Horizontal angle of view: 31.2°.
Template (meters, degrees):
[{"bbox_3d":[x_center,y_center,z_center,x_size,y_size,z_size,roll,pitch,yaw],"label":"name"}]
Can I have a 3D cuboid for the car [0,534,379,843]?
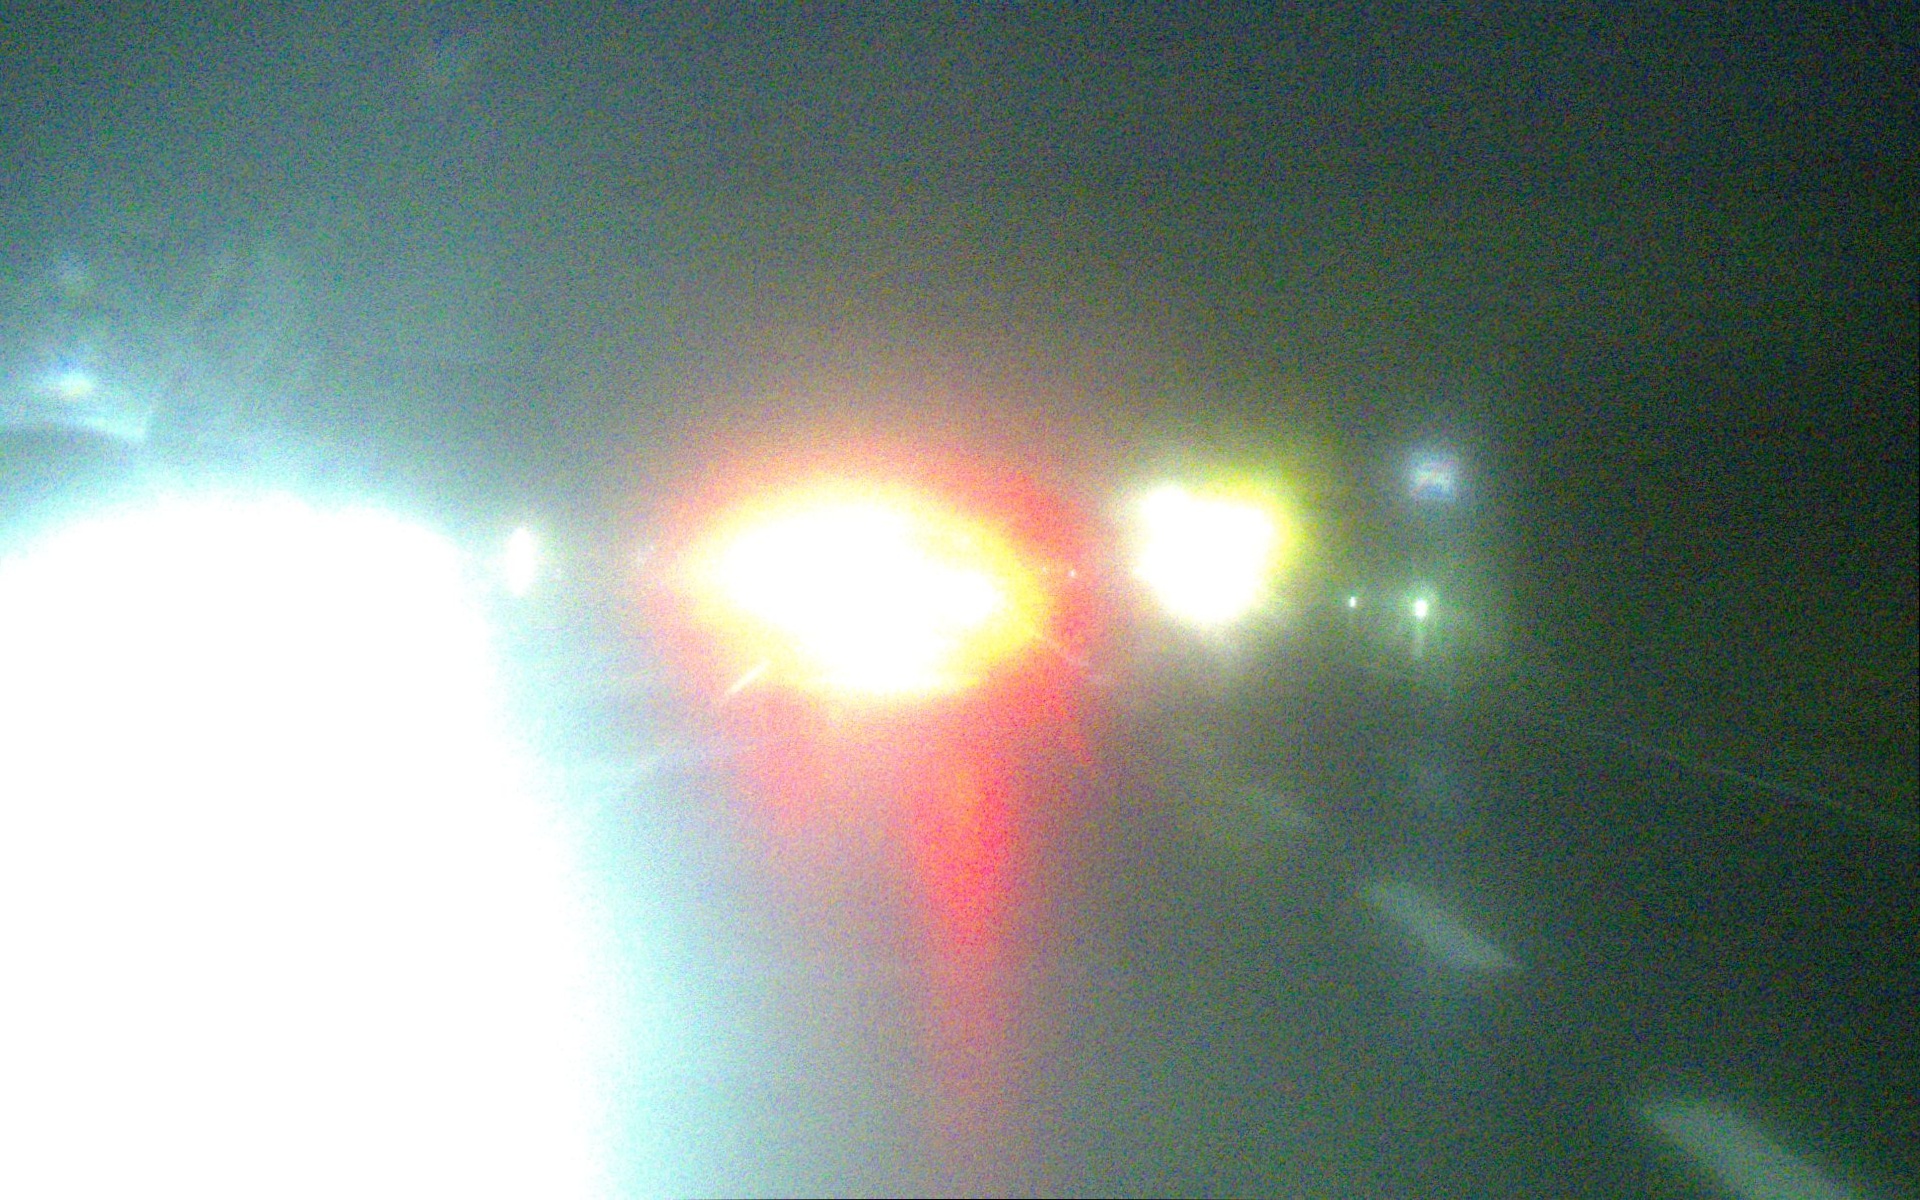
[{"bbox_3d":[-4.459,0.396,18.674,1.993,1.468,4.276,1,1,-2],"label":"car"}]

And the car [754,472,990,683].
[{"bbox_3d":[-0.742,-0.194,28.597,1.808,1.616,4.000,1,1,-2],"label":"car"}]
